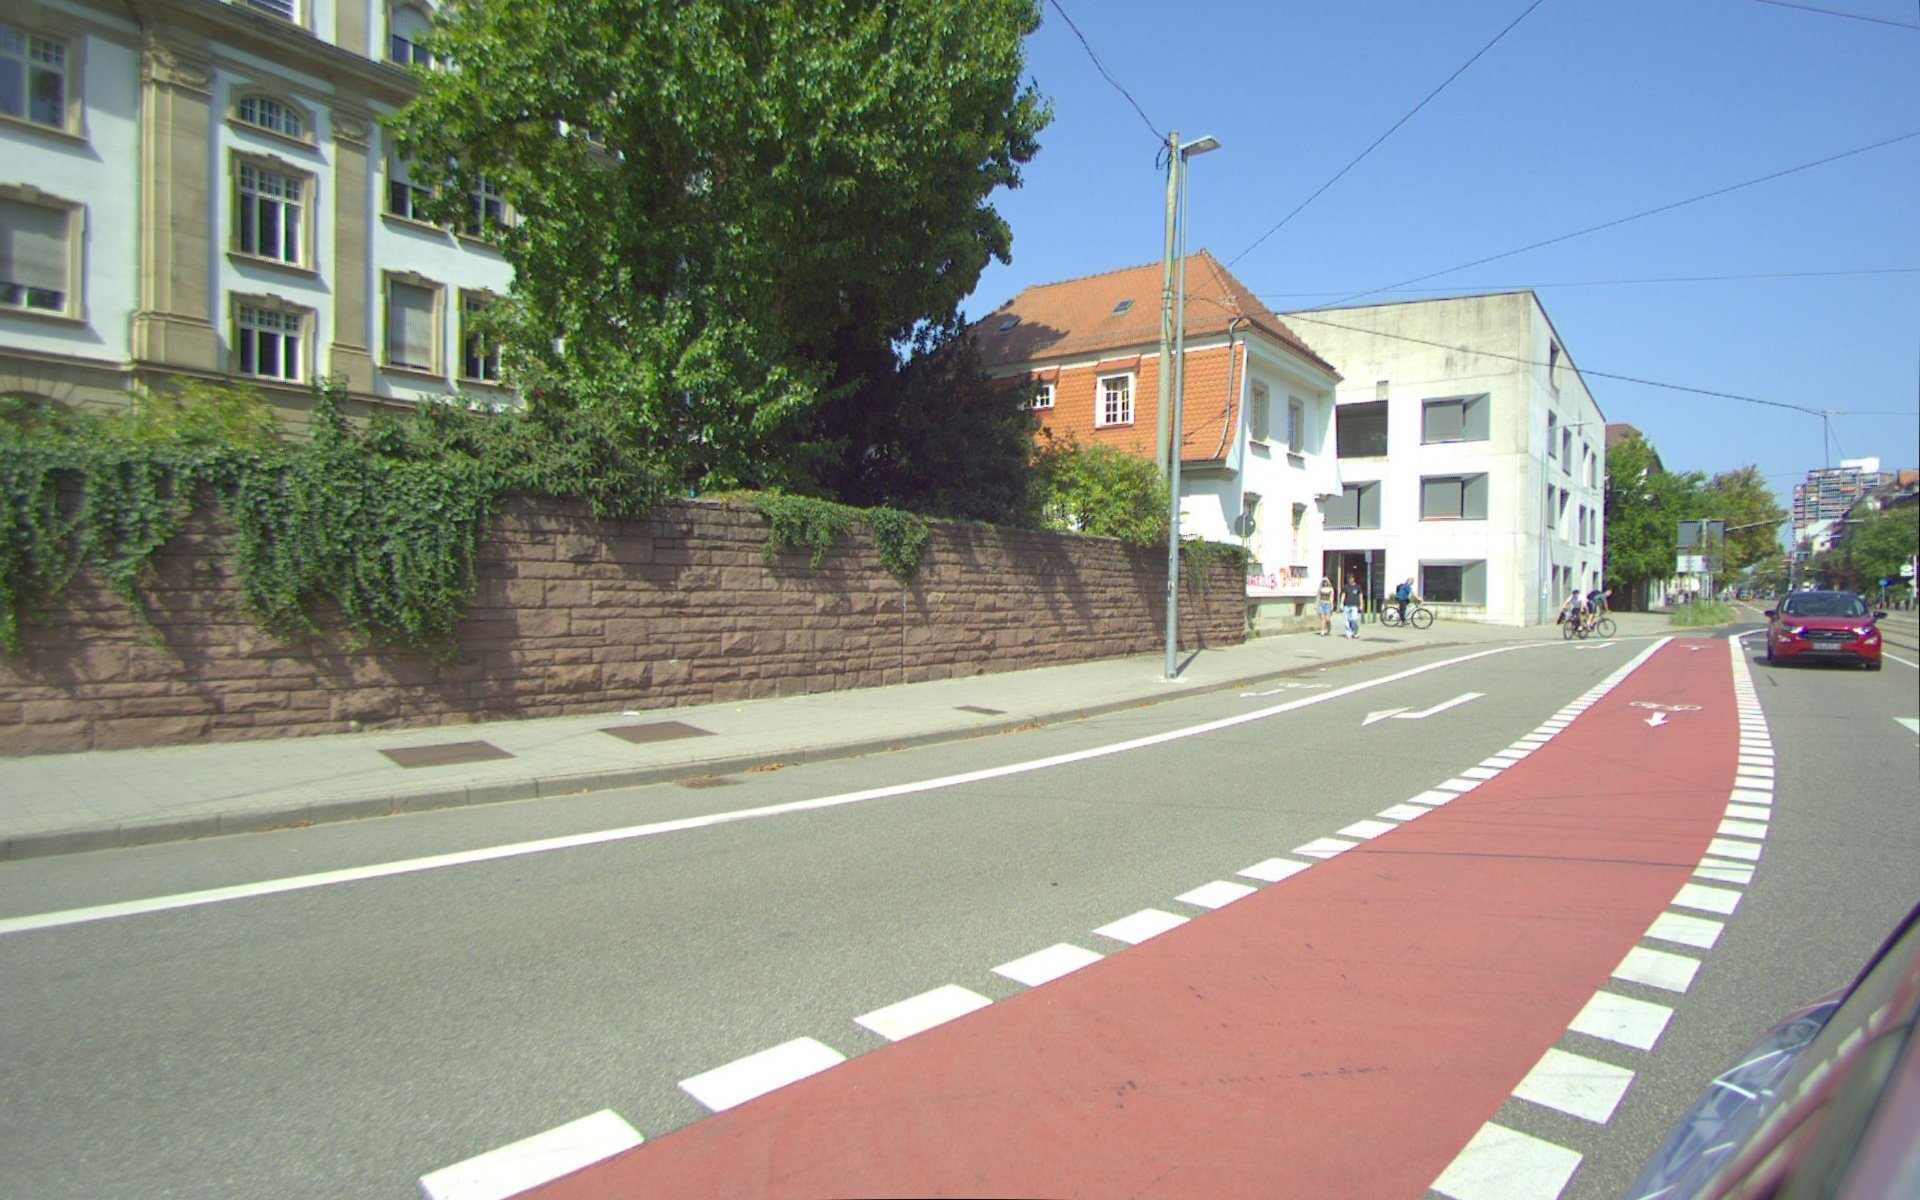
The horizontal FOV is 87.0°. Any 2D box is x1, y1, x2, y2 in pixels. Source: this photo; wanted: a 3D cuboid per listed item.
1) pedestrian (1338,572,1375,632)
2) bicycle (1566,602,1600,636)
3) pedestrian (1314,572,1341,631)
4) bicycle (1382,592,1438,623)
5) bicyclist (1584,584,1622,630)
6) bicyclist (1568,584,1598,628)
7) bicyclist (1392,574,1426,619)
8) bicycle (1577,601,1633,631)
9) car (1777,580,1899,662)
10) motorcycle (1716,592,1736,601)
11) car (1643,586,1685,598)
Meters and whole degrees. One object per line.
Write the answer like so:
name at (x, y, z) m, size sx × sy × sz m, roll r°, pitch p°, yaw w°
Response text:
pedestrian at (11.220, 0.049, 28.643) m, size 0.726 × 1.686 × 0.866 m, roll 1°, pitch 0°, yaw 40°
bicycle at (20.814, 0.622, 33.794) m, size 0.737 × 1.062 × 2.202 m, roll 1°, pitch 1°, yaw 38°
pedestrian at (10.582, 0.028, 29.160) m, size 0.616 × 1.687 × 0.480 m, roll 1°, pitch 0°, yaw 37°
bicycle at (16.067, 0.262, 36.171) m, size 1.683 × 1.012 × 0.614 m, roll 2°, pitch 1°, yaw 9°
bicyclist at (23.352, 0.246, 36.753) m, size 0.972 × 1.618 × 0.629 m, roll 1°, pitch 1°, yaw -7°
bicyclist at (20.799, 0.193, 33.804) m, size 0.743 × 1.429 × 0.948 m, roll 1°, pitch 0°, yaw 38°
bicyclist at (16.037, -0.131, 36.166) m, size 0.889 × 1.558 × 0.627 m, roll 3°, pitch 2°, yaw 8°
bicycle at (23.413, 0.567, 36.741) m, size 1.676 × 1.012 × 0.617 m, roll -1°, pitch 1°, yaw -8°
car at (18.610, 0.387, 21.595) m, size 1.808 × 1.571 × 3.964 m, roll 1°, pitch 1°, yaw 39°
motorcycle at (98.121, -0.417, 129.627) m, size 1.992 × 1.027 × 0.785 m, roll 6°, pitch 3°, yaw 38°
car at (91.113, -0.999, 130.928) m, size 1.935 × 1.461 × 4.005 m, roll 1°, pitch 1°, yaw -29°
